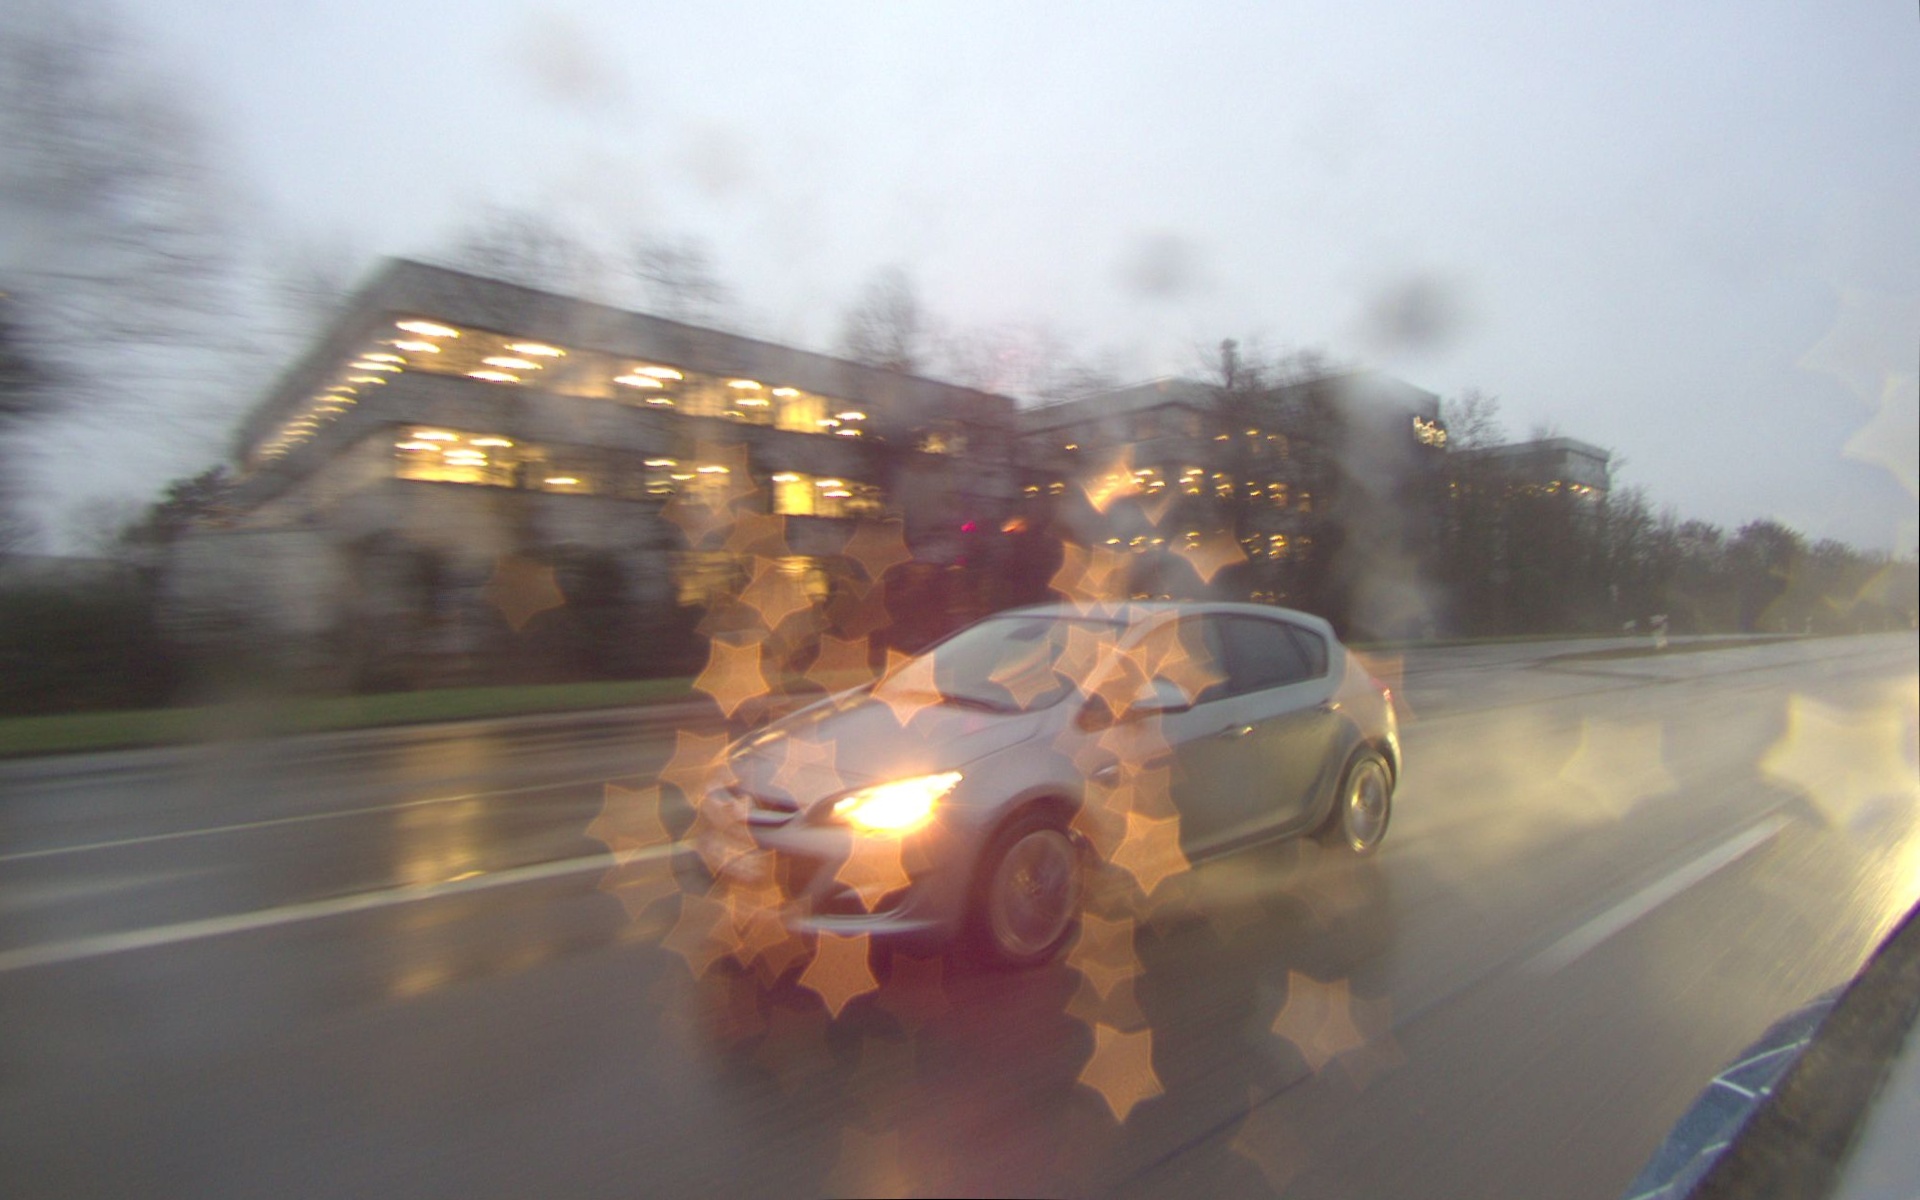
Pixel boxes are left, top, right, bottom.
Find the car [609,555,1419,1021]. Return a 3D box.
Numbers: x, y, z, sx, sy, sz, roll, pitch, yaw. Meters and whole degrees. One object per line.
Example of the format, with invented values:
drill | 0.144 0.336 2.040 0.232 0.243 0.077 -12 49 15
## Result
car | 0.545 0.608 5.394 4.187 1.521 1.852 -1 -1 -41
